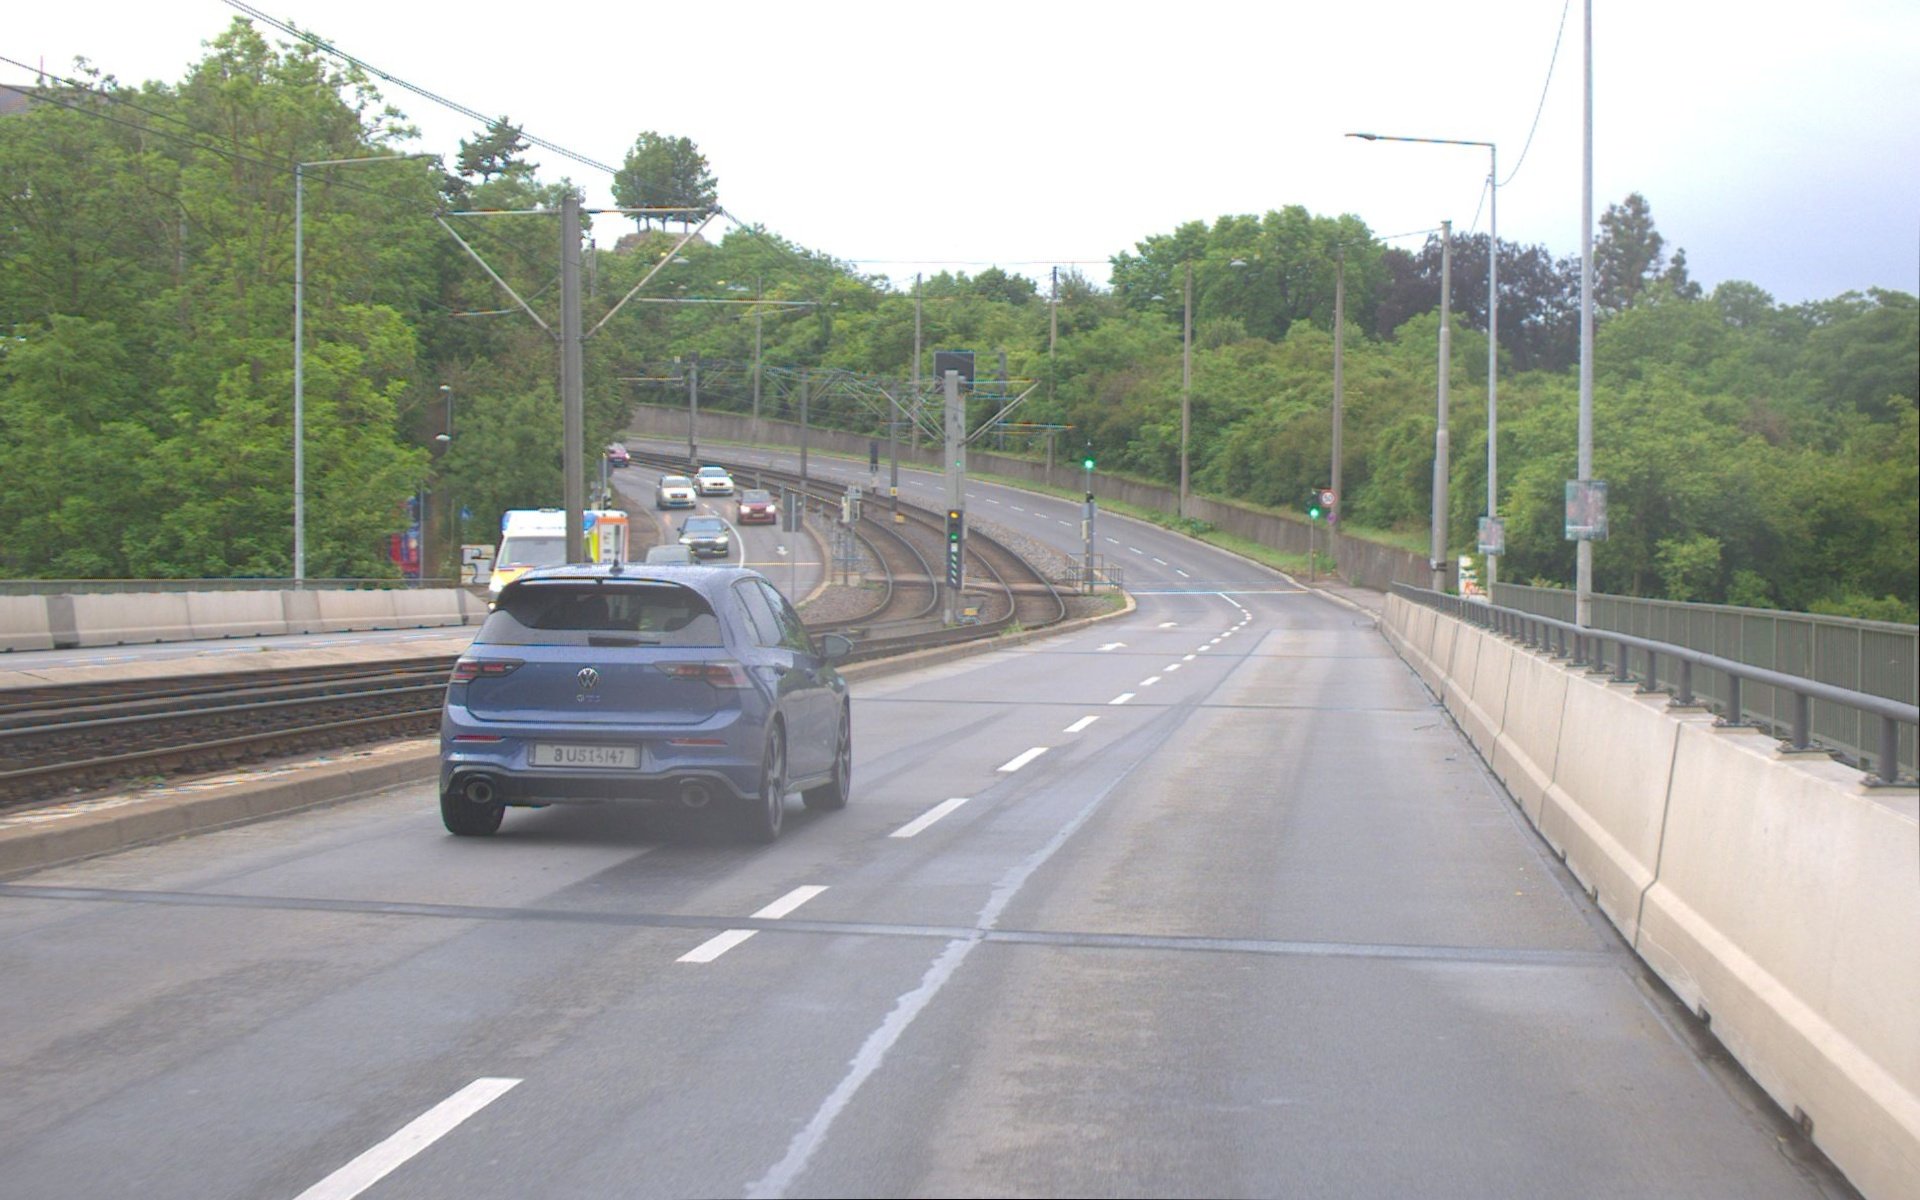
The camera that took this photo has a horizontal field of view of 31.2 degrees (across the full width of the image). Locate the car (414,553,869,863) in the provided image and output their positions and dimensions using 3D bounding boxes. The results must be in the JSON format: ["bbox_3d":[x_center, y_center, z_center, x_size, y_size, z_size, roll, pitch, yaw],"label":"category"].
[{"bbox_3d":[-1.657,0.541,19.228,1.764,1.496,3.999,2,0,6],"label":"car"}]

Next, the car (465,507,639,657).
[{"bbox_3d":[-8.922,-0.383,75.817,2.390,3.105,6.355,2,0,6],"label":"car"}]

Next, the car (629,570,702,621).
[{"bbox_3d":[-9.738,-0.166,113.952,1.896,1.592,4.732,0,1,1],"label":"car"}]

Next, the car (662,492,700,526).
[{"bbox_3d":[-13.756,-4.461,169.231,1.821,1.510,4.530,1,0,-5],"label":"car"}]

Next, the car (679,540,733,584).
[{"bbox_3d":[-10.062,-1.475,135.865,1.968,1.592,5.185,0,-1,-6],"label":"car"}]

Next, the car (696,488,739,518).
[{"bbox_3d":[-12.747,-5.096,180.649,1.729,1.432,4.493,0,-1,-11],"label":"car"}]

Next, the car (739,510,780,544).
[{"bbox_3d":[-9.074,-3.316,155.756,1.600,1.488,3.018,-1,2,-8],"label":"car"}]
